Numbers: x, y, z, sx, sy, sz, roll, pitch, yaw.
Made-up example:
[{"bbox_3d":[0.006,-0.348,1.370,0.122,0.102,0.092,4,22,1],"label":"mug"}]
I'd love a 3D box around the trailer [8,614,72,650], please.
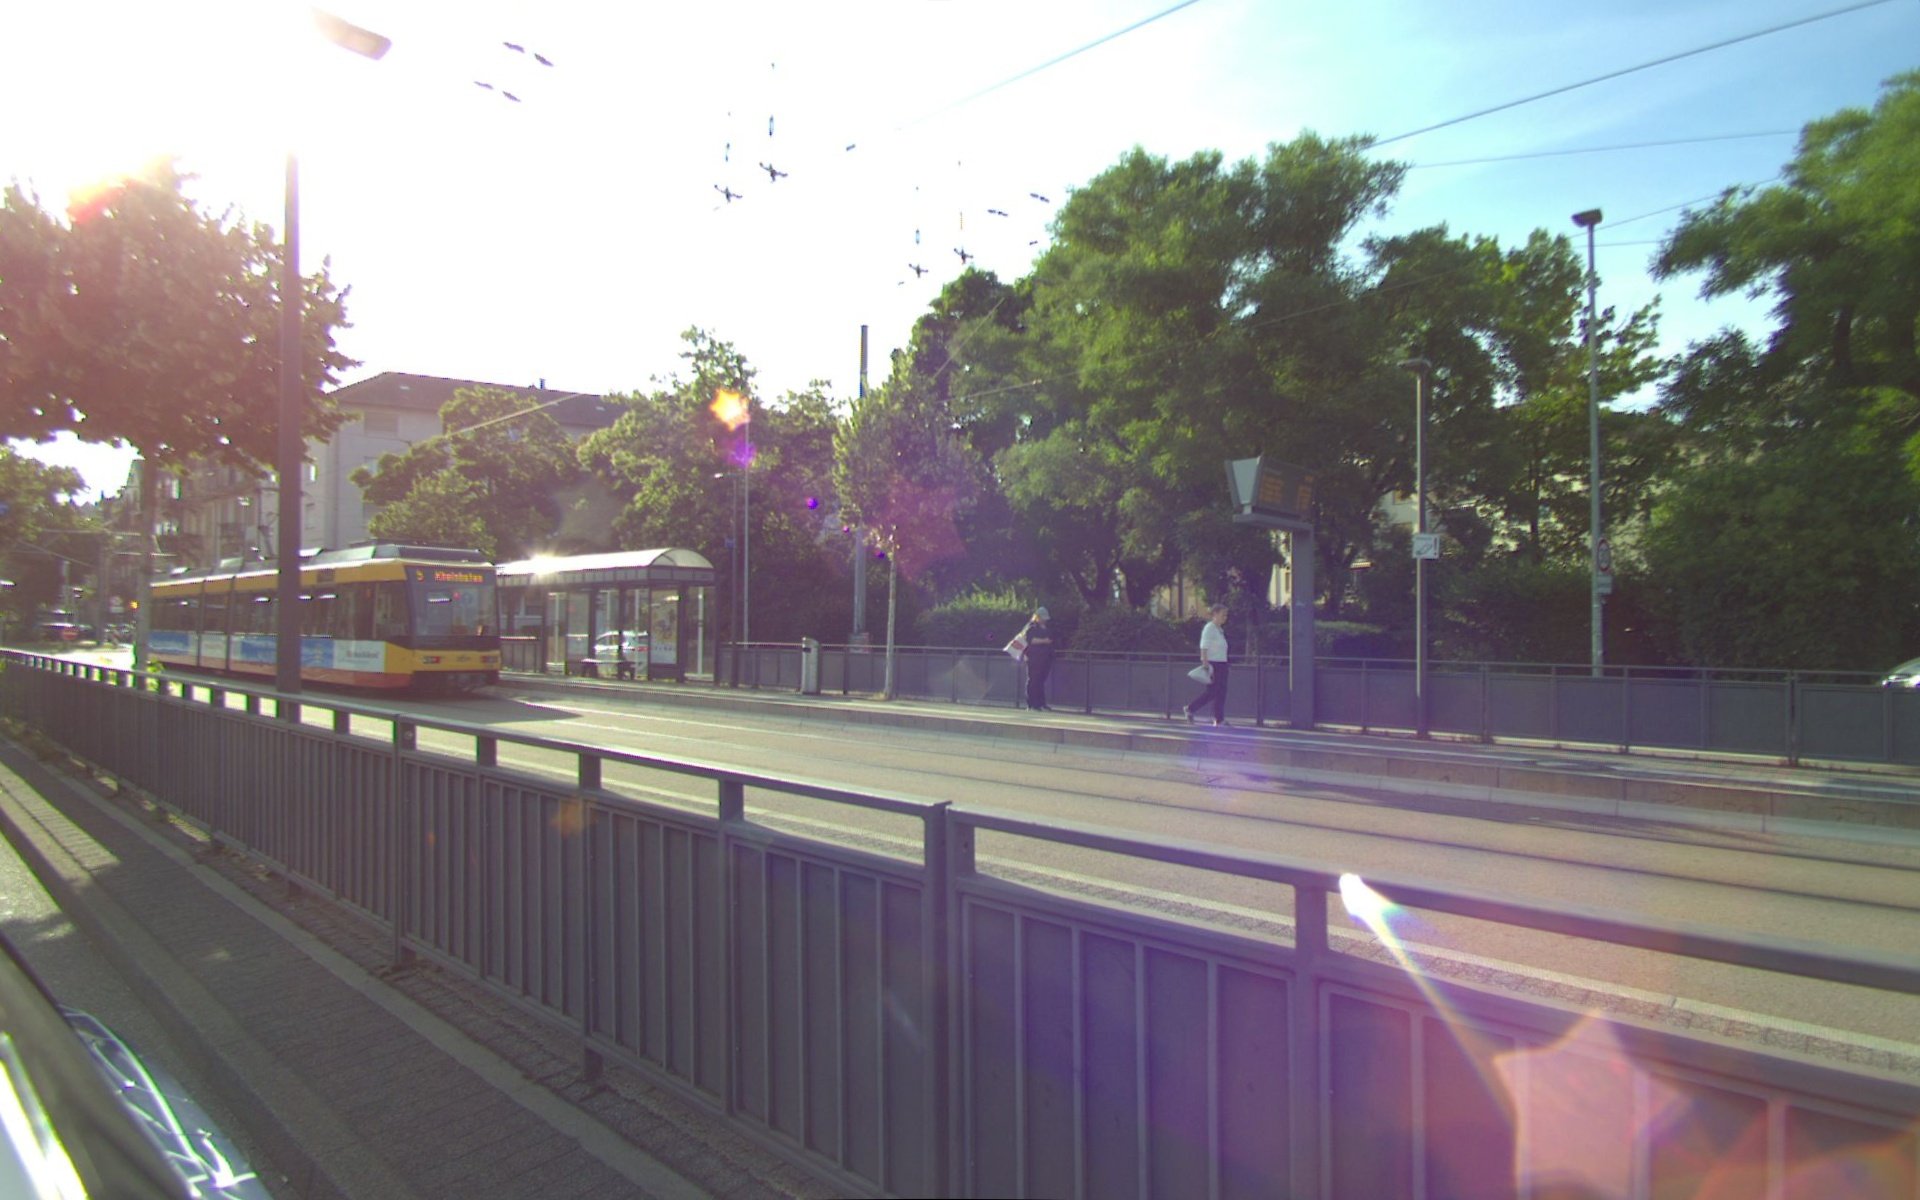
[{"bbox_3d":[-63.837,2.201,70.273,2.817,2.410,1.728,0,-2,-17],"label":"trailer"}]

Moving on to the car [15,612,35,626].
[{"bbox_3d":[-134.883,2.709,145.977,1.971,2.029,4.002,1,-2,-45],"label":"car"}]

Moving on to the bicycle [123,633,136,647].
[{"bbox_3d":[-61.359,2.965,74.763,0.535,1.026,2.251,1,-2,-45],"label":"bicycle"}]

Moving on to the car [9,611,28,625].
[{"bbox_3d":[-143.032,2.730,153.680,1.971,2.029,4.002,1,-2,-45],"label":"car"}]

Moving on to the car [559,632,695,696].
[{"bbox_3d":[-9.658,1.776,29.217,3.997,1.697,1.973,-2,-2,41],"label":"car"}]

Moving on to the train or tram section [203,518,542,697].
[{"bbox_3d":[-15.623,0.328,25.869,14.465,3.506,3.128,-2,-2,42],"label":"train or tram section"}]

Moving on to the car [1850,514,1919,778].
[{"bbox_3d":[13.275,0.417,9.379,7.465,2.756,2.569,-2,-2,42],"label":"car"}]

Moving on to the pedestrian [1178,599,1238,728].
[{"bbox_3d":[3.287,0.833,13.417,0.606,1.654,0.576,-2,-4,37],"label":"pedestrian"}]

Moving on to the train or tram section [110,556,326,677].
[{"bbox_3d":[-26.423,0.660,35.509,14.526,3.506,3.128,-2,-2,42],"label":"train or tram section"}]

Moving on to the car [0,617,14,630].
[{"bbox_3d":[-152.601,3.779,161.518,3.998,2.029,1.973,-2,-2,41],"label":"car"}]

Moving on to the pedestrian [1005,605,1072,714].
[{"bbox_3d":[1.237,0.921,15.954,0.860,1.654,0.660,-1,-2,25],"label":"pedestrian"}]

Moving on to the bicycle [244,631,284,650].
[{"bbox_3d":[-41.348,2.411,60.151,1.883,1.119,0.737,1,-2,-27],"label":"bicycle"}]

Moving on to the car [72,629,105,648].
[{"bbox_3d":[-87.667,3.850,101.797,4.612,1.915,2.141,-2,-2,44],"label":"car"}]

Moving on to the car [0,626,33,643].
[{"bbox_3d":[-87.497,3.145,92.108,4.205,1.433,2.175,0,-1,-7],"label":"car"}]

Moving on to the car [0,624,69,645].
[{"bbox_3d":[-62.534,2.282,67.799,3.888,1.370,1.676,1,-2,-11],"label":"car"}]

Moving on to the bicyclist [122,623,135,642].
[{"bbox_3d":[-61.552,2.404,74.883,0.717,1.424,0.643,-2,-2,43],"label":"bicyclist"}]

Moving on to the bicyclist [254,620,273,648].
[{"bbox_3d":[-41.361,2.040,60.112,0.760,1.655,0.797,1,-2,-27],"label":"bicyclist"}]

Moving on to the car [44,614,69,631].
[{"bbox_3d":[-111.782,2.757,125.206,3.999,2.029,1.972,-2,-2,42],"label":"car"}]
